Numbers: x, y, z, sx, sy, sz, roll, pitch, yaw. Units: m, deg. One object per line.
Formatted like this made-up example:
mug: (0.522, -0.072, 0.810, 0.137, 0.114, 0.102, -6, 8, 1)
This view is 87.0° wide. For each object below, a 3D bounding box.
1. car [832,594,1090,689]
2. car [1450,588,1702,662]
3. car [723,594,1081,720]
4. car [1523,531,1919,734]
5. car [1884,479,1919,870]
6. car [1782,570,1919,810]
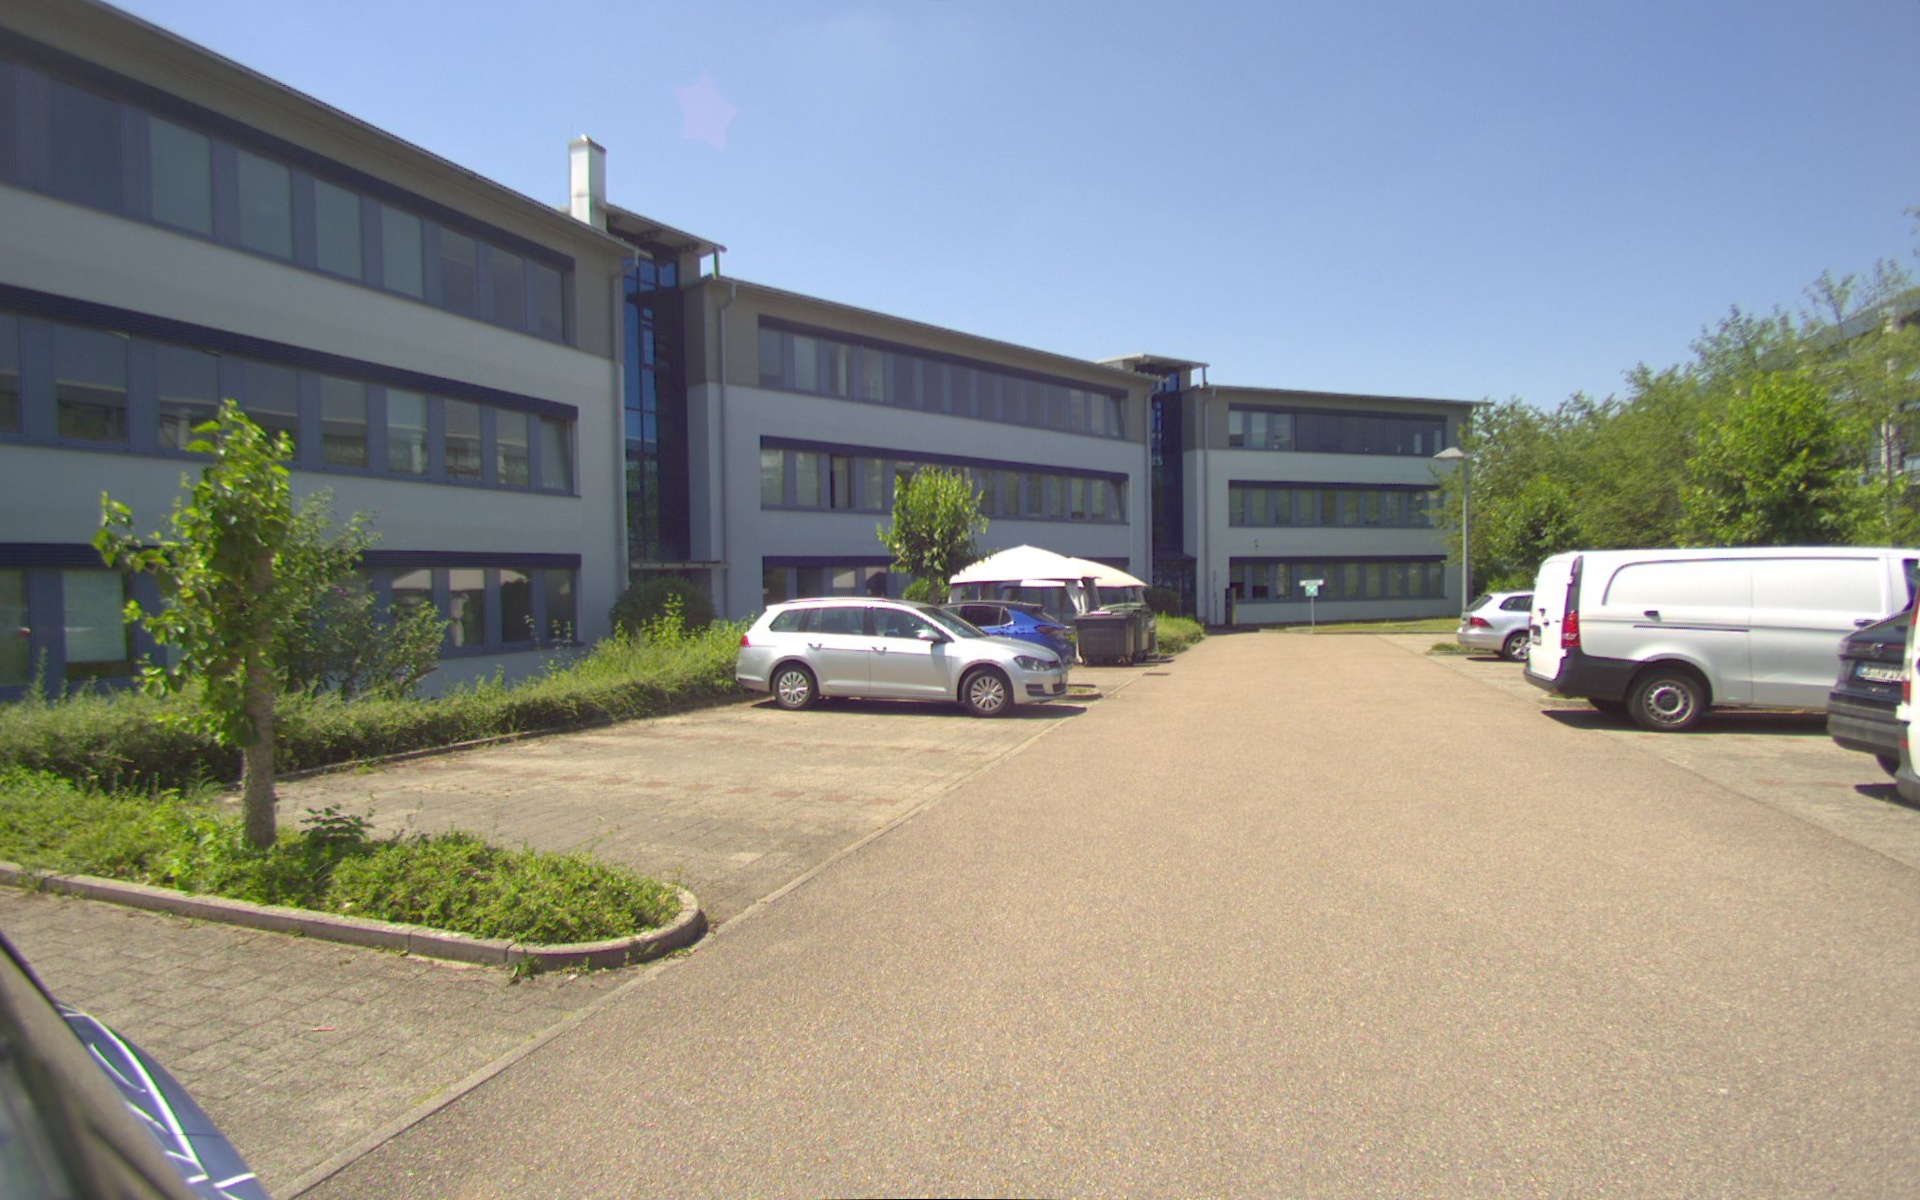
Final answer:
car: (0.043, 0.683, 17.314, 3.970, 1.473, 1.987, -1, 0, 21)
car: (12.553, 0.493, 20.950, 4.139, 1.417, 1.861, -1, 0, 21)
car: (-0.742, 0.686, 13.557, 4.445, 1.483, 1.853, 0, 0, 17)
car: (8.790, 0.304, 10.582, 4.765, 1.905, 1.876, -1, 0, 19)
car: (6.793, 0.333, 3.592, 4.765, 1.919, 1.909, -1, 0, 17)
car: (7.939, 0.525, 6.325, 3.954, 1.487, 1.755, -1, 0, 9)
